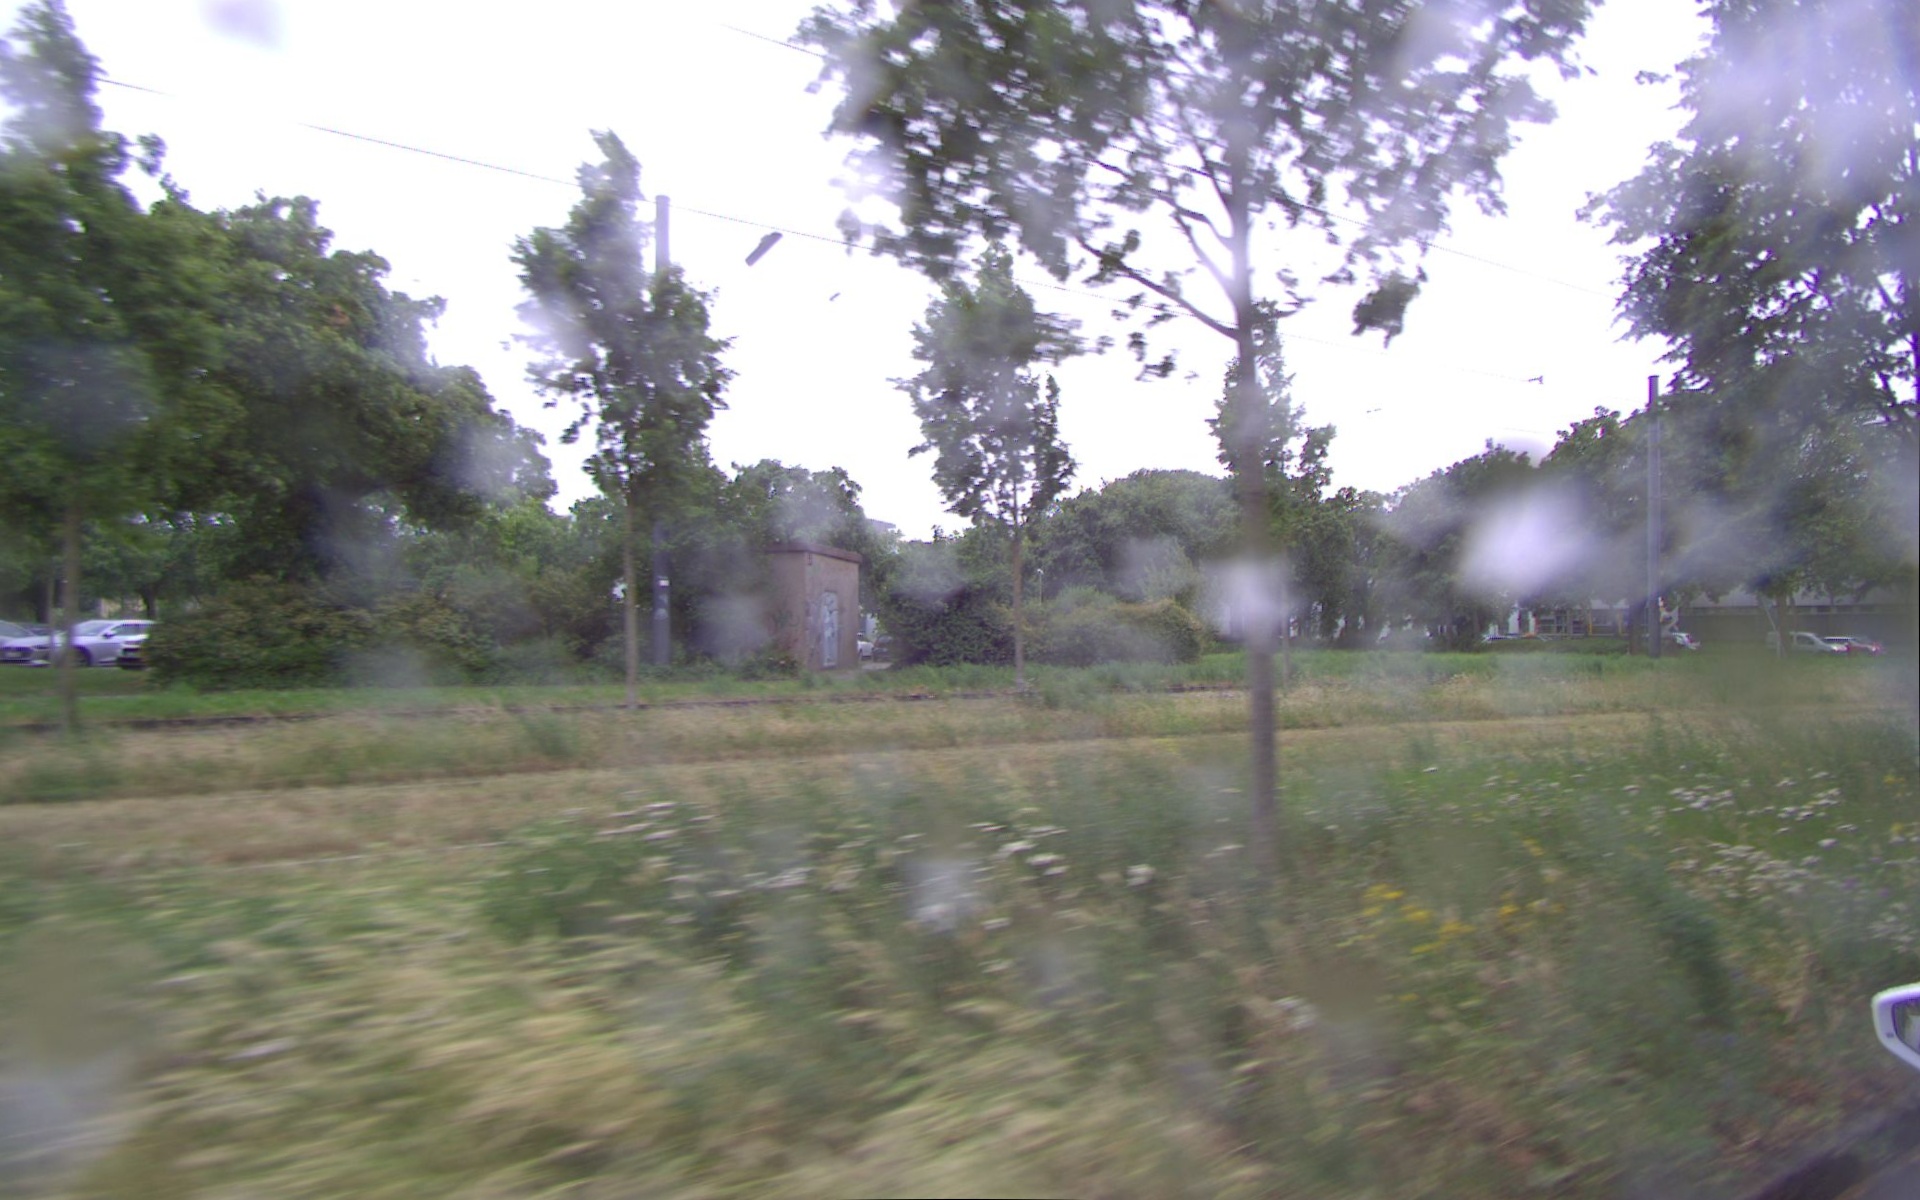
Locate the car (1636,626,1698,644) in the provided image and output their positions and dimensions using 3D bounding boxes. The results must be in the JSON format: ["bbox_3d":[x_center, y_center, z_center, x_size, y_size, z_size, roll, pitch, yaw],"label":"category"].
[{"bbox_3d":[59.015,2.901,83.894,1.519,1.439,3.971,1,-2,-28],"label":"car"}]

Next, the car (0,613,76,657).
[{"bbox_3d":[-28.673,1.032,29.601,1.631,1.265,3.745,0,-2,9],"label":"car"}]

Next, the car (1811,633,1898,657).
[{"bbox_3d":[57.710,2.884,64.845,1.632,1.518,3.891,0,-1,-29],"label":"car"}]

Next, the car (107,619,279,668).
[{"bbox_3d":[-21.030,1.190,27.744,1.632,1.265,3.745,0,-2,6],"label":"car"}]

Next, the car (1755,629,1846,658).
[{"bbox_3d":[54.210,2.771,64.870,1.630,1.820,4.196,0,-1,-26],"label":"car"}]

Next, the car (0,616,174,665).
[{"bbox_3d":[-24.151,1.116,27.768,1.632,1.265,3.745,0,-2,6],"label":"car"}]

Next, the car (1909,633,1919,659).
[{"bbox_3d":[57.398,2.640,57.569,1.630,1.518,4.053,1,-3,-25],"label":"car"}]
